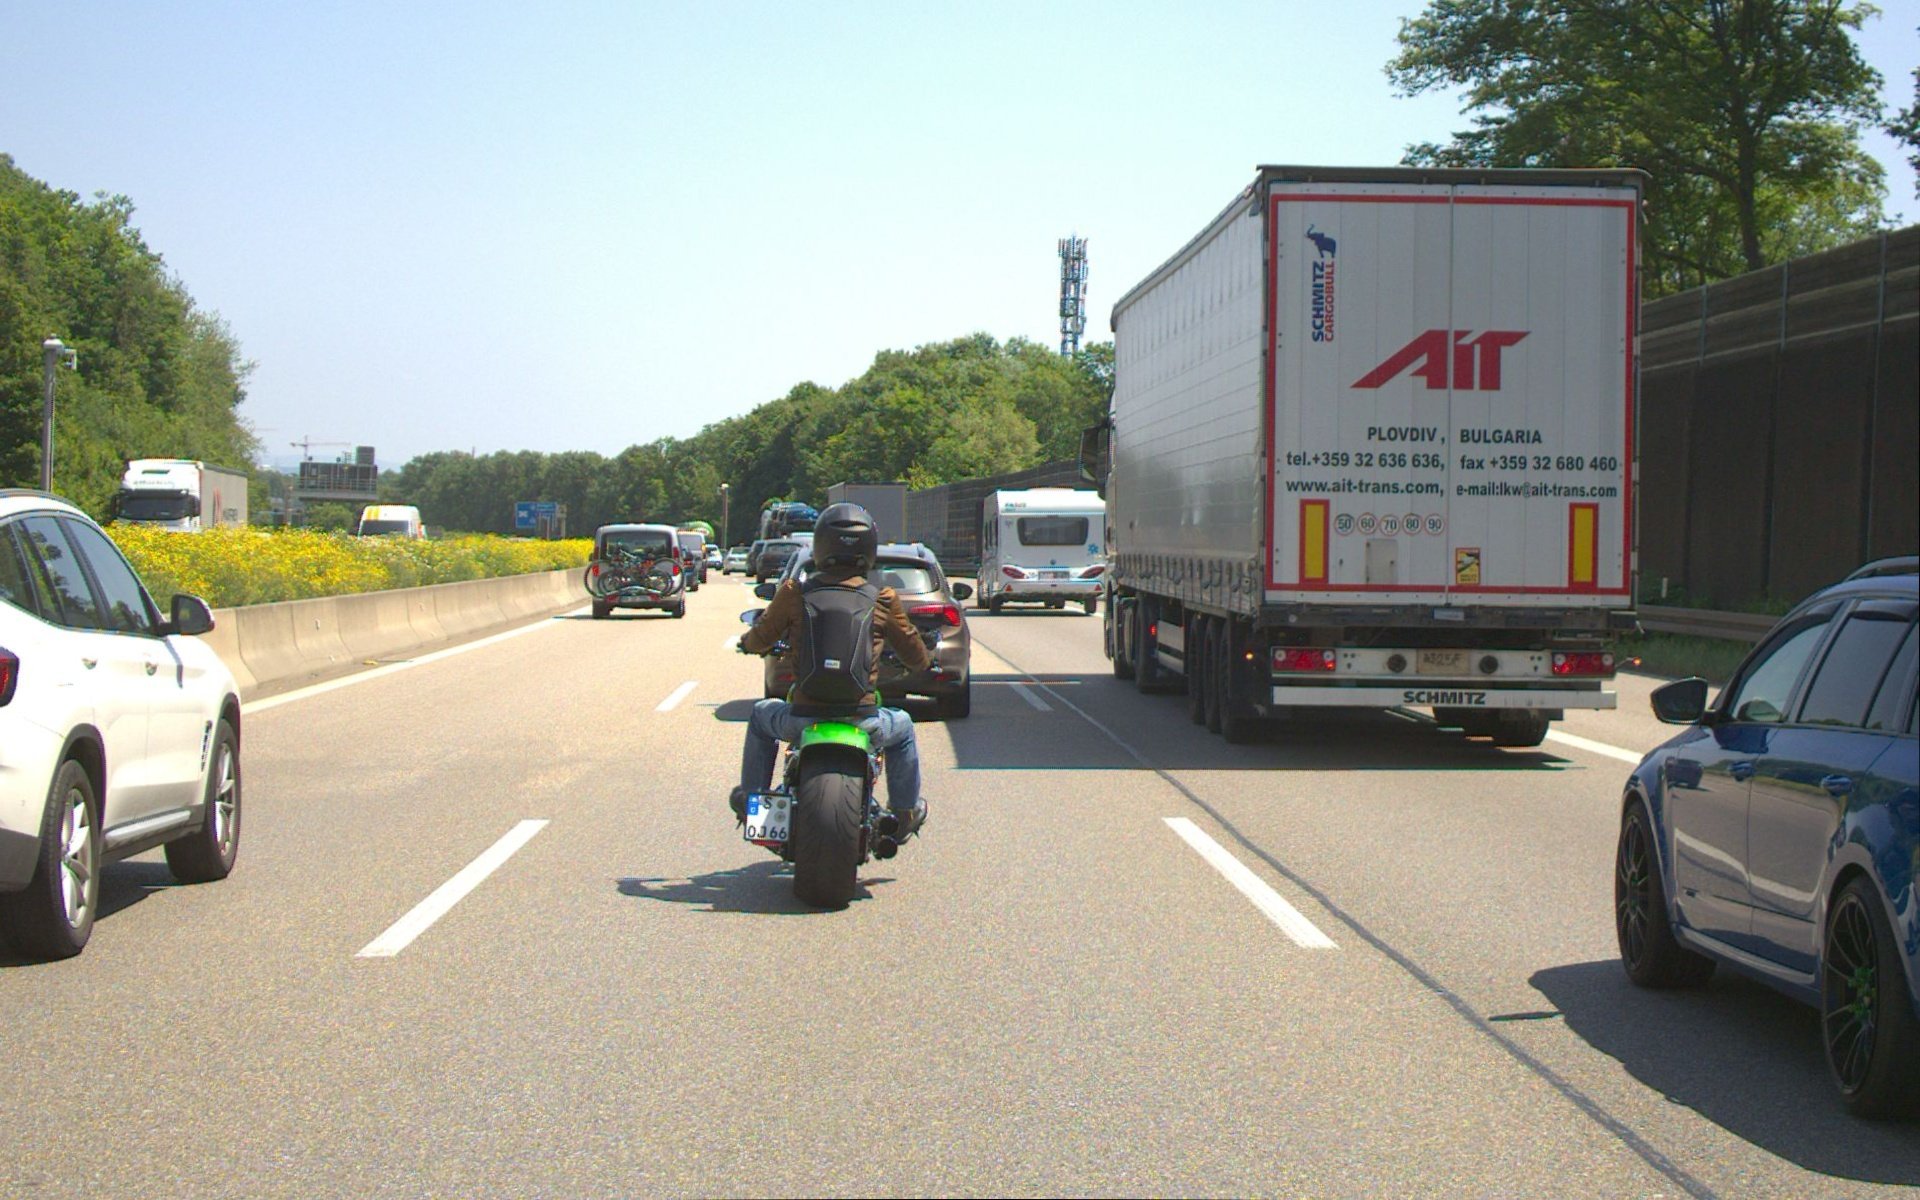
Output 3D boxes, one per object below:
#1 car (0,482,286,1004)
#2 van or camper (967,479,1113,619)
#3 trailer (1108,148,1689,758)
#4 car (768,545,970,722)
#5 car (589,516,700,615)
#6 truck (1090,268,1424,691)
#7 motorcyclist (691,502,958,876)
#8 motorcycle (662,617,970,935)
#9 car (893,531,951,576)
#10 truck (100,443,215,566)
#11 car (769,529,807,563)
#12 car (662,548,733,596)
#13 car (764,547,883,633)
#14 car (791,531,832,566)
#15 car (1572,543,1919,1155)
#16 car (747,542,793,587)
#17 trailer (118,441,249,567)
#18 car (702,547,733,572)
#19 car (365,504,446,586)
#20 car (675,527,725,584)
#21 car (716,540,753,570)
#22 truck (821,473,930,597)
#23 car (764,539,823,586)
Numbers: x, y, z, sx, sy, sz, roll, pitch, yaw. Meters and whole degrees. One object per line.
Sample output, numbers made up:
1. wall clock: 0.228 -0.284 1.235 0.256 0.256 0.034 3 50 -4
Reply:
1. car: -4.033 0.425 13.576 1.864 1.688 4.956 0 1 -1
2. van or camper: 1.616 -1.011 72.818 2.685 2.803 6.803 0 0 -2
3. trailer: 3.210 -1.073 29.717 2.885 4.025 13.796 0 1 -1
4. car: -0.804 0.281 30.343 1.662 1.448 3.869 0 0 -1
5. car: -6.177 -0.656 67.679 1.899 1.867 4.413 0 0 -2
6. truck: 3.034 -1.226 36.846 2.885 4.132 5.986 0 1 -1
7. motorcyclist: -0.537 0.354 14.525 0.900 1.470 1.871 0 0 5
8. motorcycle: -0.553 0.682 14.613 0.965 1.144 2.811 1 1 4
9. car: -1.407 -1.670 125.016 1.993 1.568 4.000 0 0 -2
10. truck: -28.057 -3.290 120.396 2.963 4.093 6.089 0 0 -4
11. car: -9.986 -3.106 199.348 2.107 1.870 4.000 0 0 -5
12. car: -7.976 -0.838 104.808 1.993 1.382 4.000 0 0 -2
13. car: -2.382 -0.164 59.827 1.993 1.425 3.847 0 0 -3
14. car: -8.419 -2.914 194.131 2.107 1.870 4.001 0 0 -5
15. car: 3.090 0.611 10.068 1.650 1.477 4.482 0 0 -2
16. car: -8.657 -1.611 156.325 1.911 2.007 3.691 0 0 -5
17. trailer: -28.573 -3.422 127.066 2.925 4.217 13.066 0 0 -5
18. car: -15.552 -2.584 220.083 1.832 1.491 3.744 0 0 -6
19. car: -20.339 -2.018 126.394 2.068 2.886 7.463 0 1 -2
20. car: -9.484 -1.608 125.551 1.791 2.007 3.642 0 0 -4
21. car: -11.861 -2.333 180.455 1.832 1.491 3.744 0 0 -5
22. truck: -3.591 -2.637 143.850 3.802 4.943 8.952 0 0 -6
23. car: -6.063 -1.343 125.451 1.993 1.634 4.000 0 0 -1
